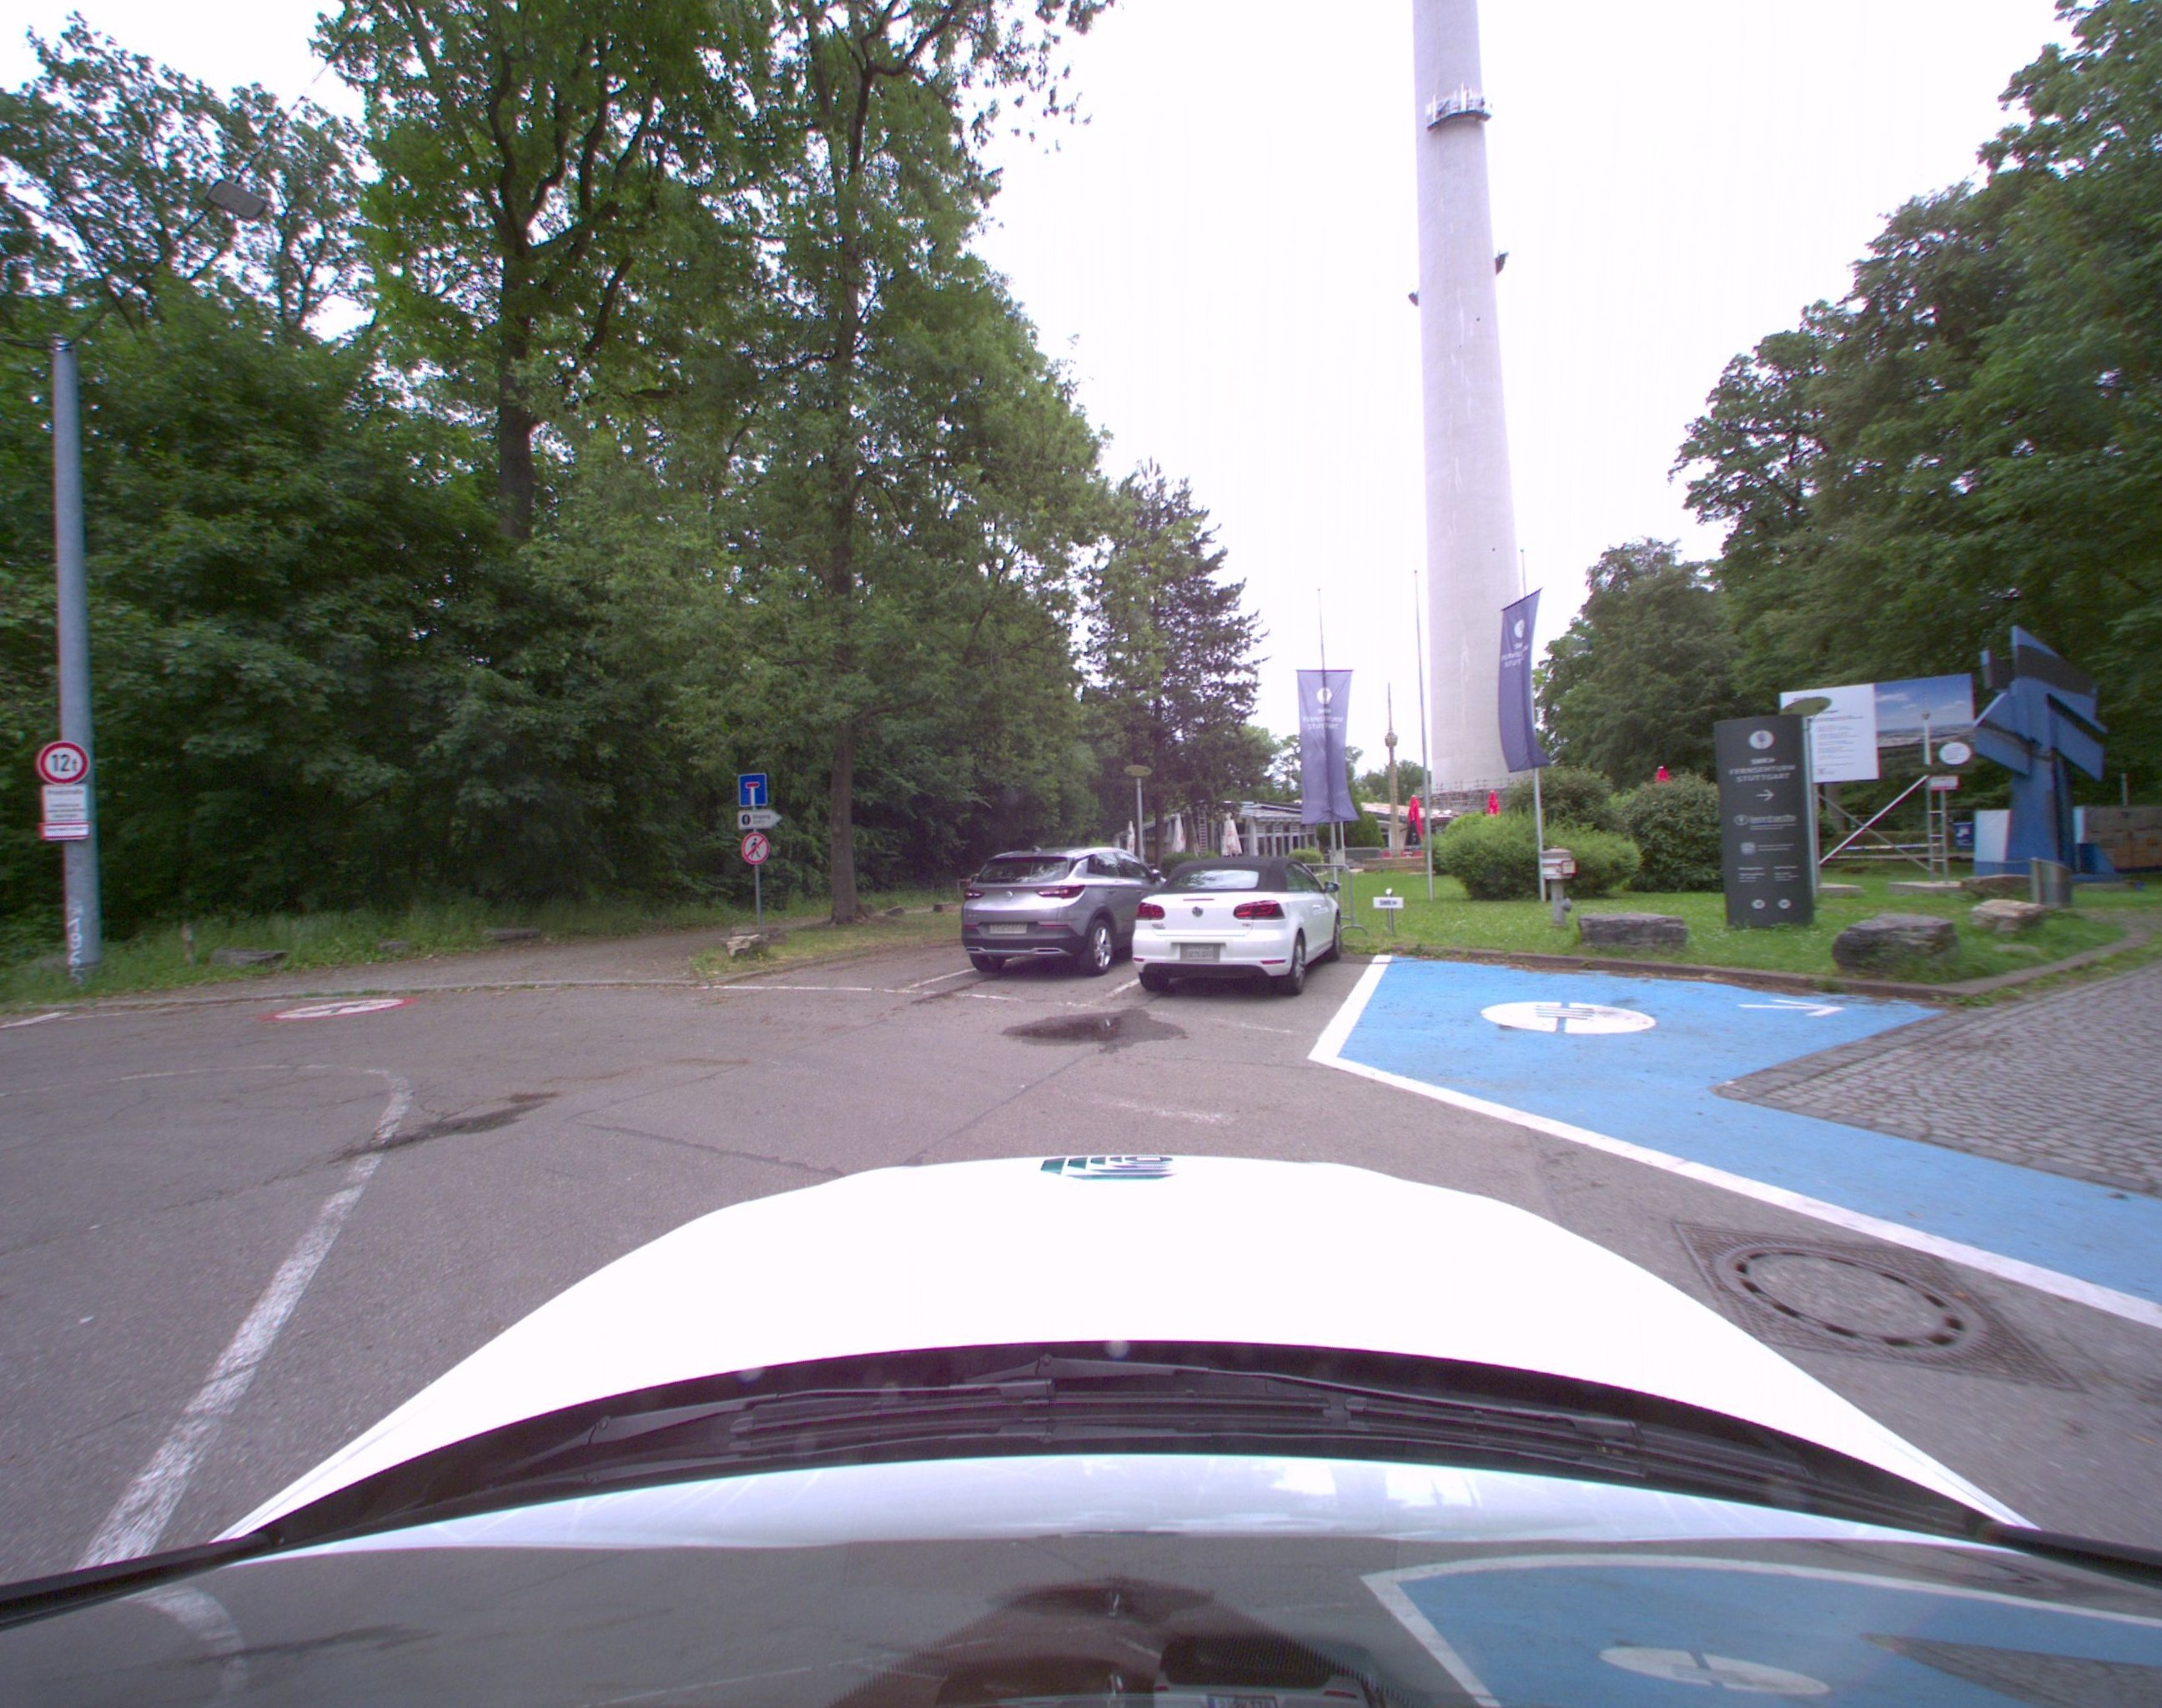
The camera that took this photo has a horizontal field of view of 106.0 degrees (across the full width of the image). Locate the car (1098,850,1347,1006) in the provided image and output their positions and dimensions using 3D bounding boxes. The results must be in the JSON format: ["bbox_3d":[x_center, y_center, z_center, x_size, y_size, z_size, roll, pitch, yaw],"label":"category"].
[{"bbox_3d":[1.931,0.722,9.895,1.875,1.428,4.024,-2,0,26],"label":"car"}]

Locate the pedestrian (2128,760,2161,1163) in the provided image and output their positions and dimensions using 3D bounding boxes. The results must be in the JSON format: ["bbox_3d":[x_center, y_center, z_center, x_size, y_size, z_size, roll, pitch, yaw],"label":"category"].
[{"bbox_3d":[4.888,0.453,3.050,0.756,1.725,0.900,-2,0,14],"label":"pedestrian"}]

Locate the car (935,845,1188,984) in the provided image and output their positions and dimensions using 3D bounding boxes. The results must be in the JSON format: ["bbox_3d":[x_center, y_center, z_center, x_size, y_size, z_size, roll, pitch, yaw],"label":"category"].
[{"bbox_3d":[-0.063,0.707,11.570,1.875,1.585,4.024,-2,0,26],"label":"car"}]
